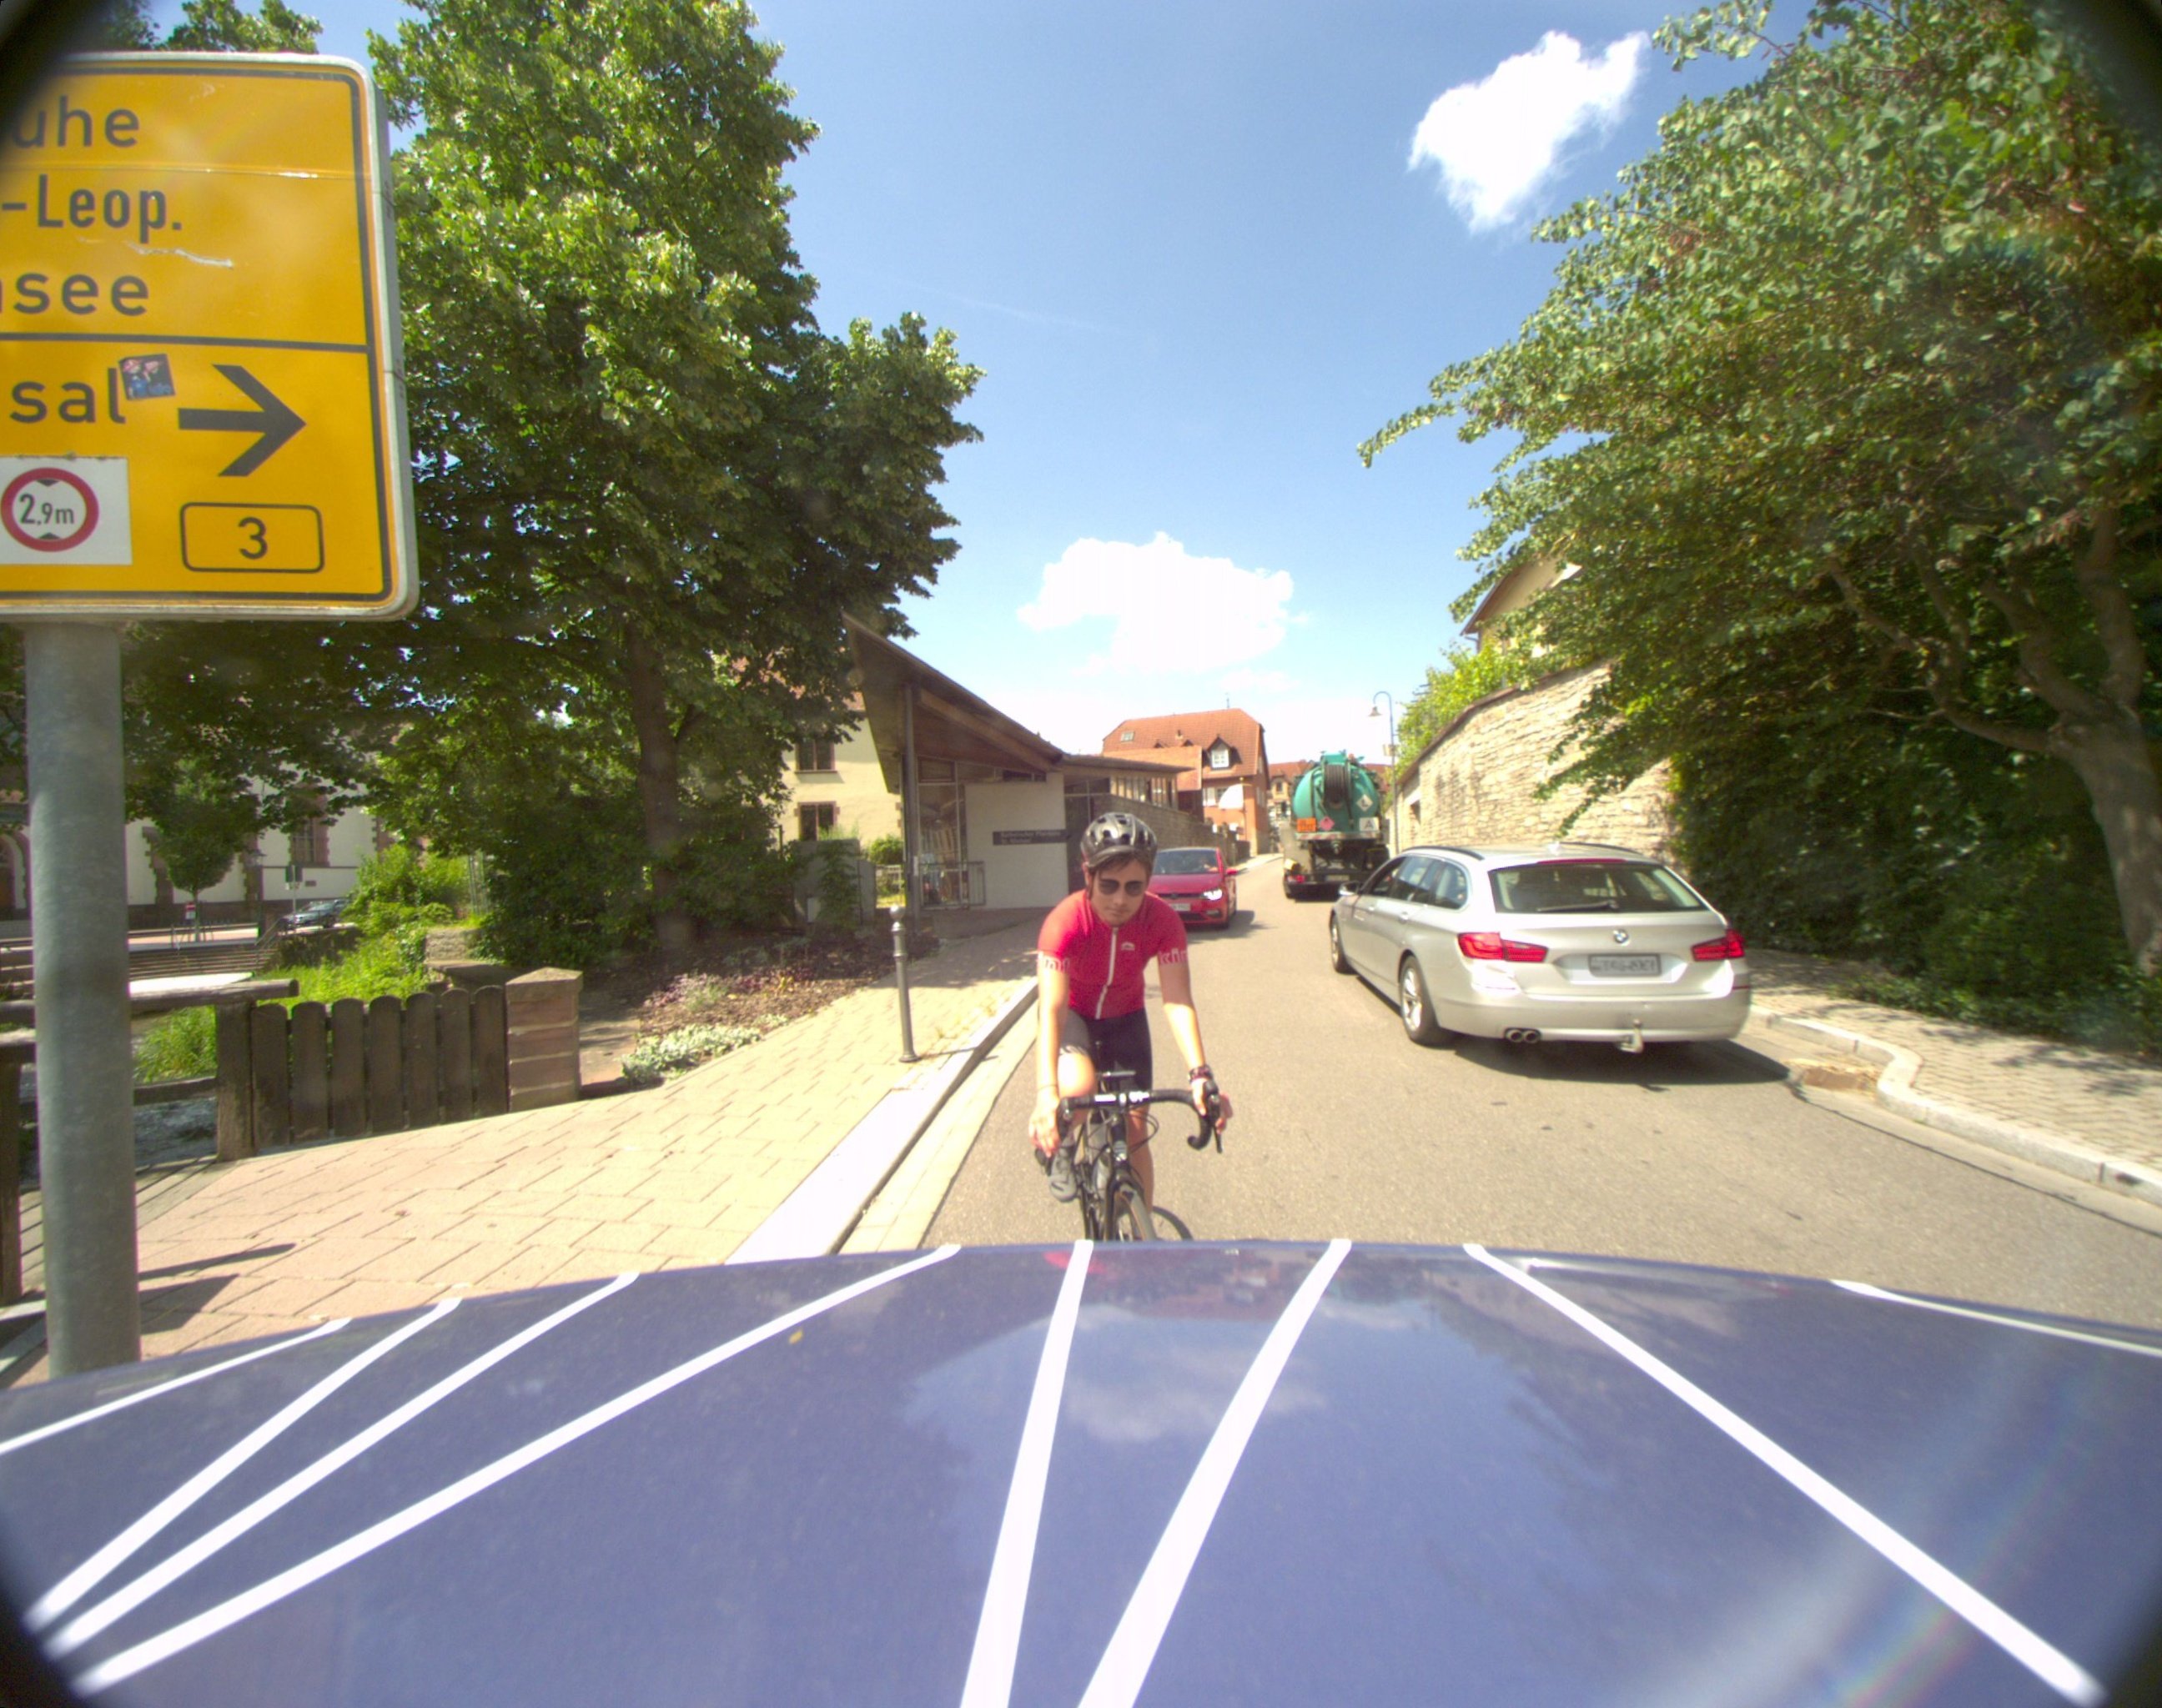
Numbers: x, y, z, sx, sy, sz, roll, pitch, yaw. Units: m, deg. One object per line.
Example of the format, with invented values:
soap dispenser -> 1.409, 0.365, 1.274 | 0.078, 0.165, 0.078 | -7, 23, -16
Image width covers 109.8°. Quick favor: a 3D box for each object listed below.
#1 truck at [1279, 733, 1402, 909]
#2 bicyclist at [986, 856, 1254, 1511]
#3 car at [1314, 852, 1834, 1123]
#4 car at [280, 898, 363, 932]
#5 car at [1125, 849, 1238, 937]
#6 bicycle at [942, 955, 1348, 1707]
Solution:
truck -> 6.774, -0.794, 20.629 | 2.415, 3.637, 9.576 | -1, 2, 16
bicyclist -> 0.076, 0.715, 2.021 | 0.532, 1.396, 0.755 | -2, 1, -2
car -> 3.460, 0.765, 6.589 | 1.899, 1.491, 4.616 | -2, 0, 6
car -> -40.578, 3.213, 40.720 | 1.672, 1.496, 3.804 | -3, 0, -21
car -> 1.958, 0.638, 13.959 | 1.668, 1.344, 3.497 | -2, 1, 13
bicycle -> 0.066, 0.958, 2.069 | 0.531, 1.070, 2.053 | -2, 0, -2
